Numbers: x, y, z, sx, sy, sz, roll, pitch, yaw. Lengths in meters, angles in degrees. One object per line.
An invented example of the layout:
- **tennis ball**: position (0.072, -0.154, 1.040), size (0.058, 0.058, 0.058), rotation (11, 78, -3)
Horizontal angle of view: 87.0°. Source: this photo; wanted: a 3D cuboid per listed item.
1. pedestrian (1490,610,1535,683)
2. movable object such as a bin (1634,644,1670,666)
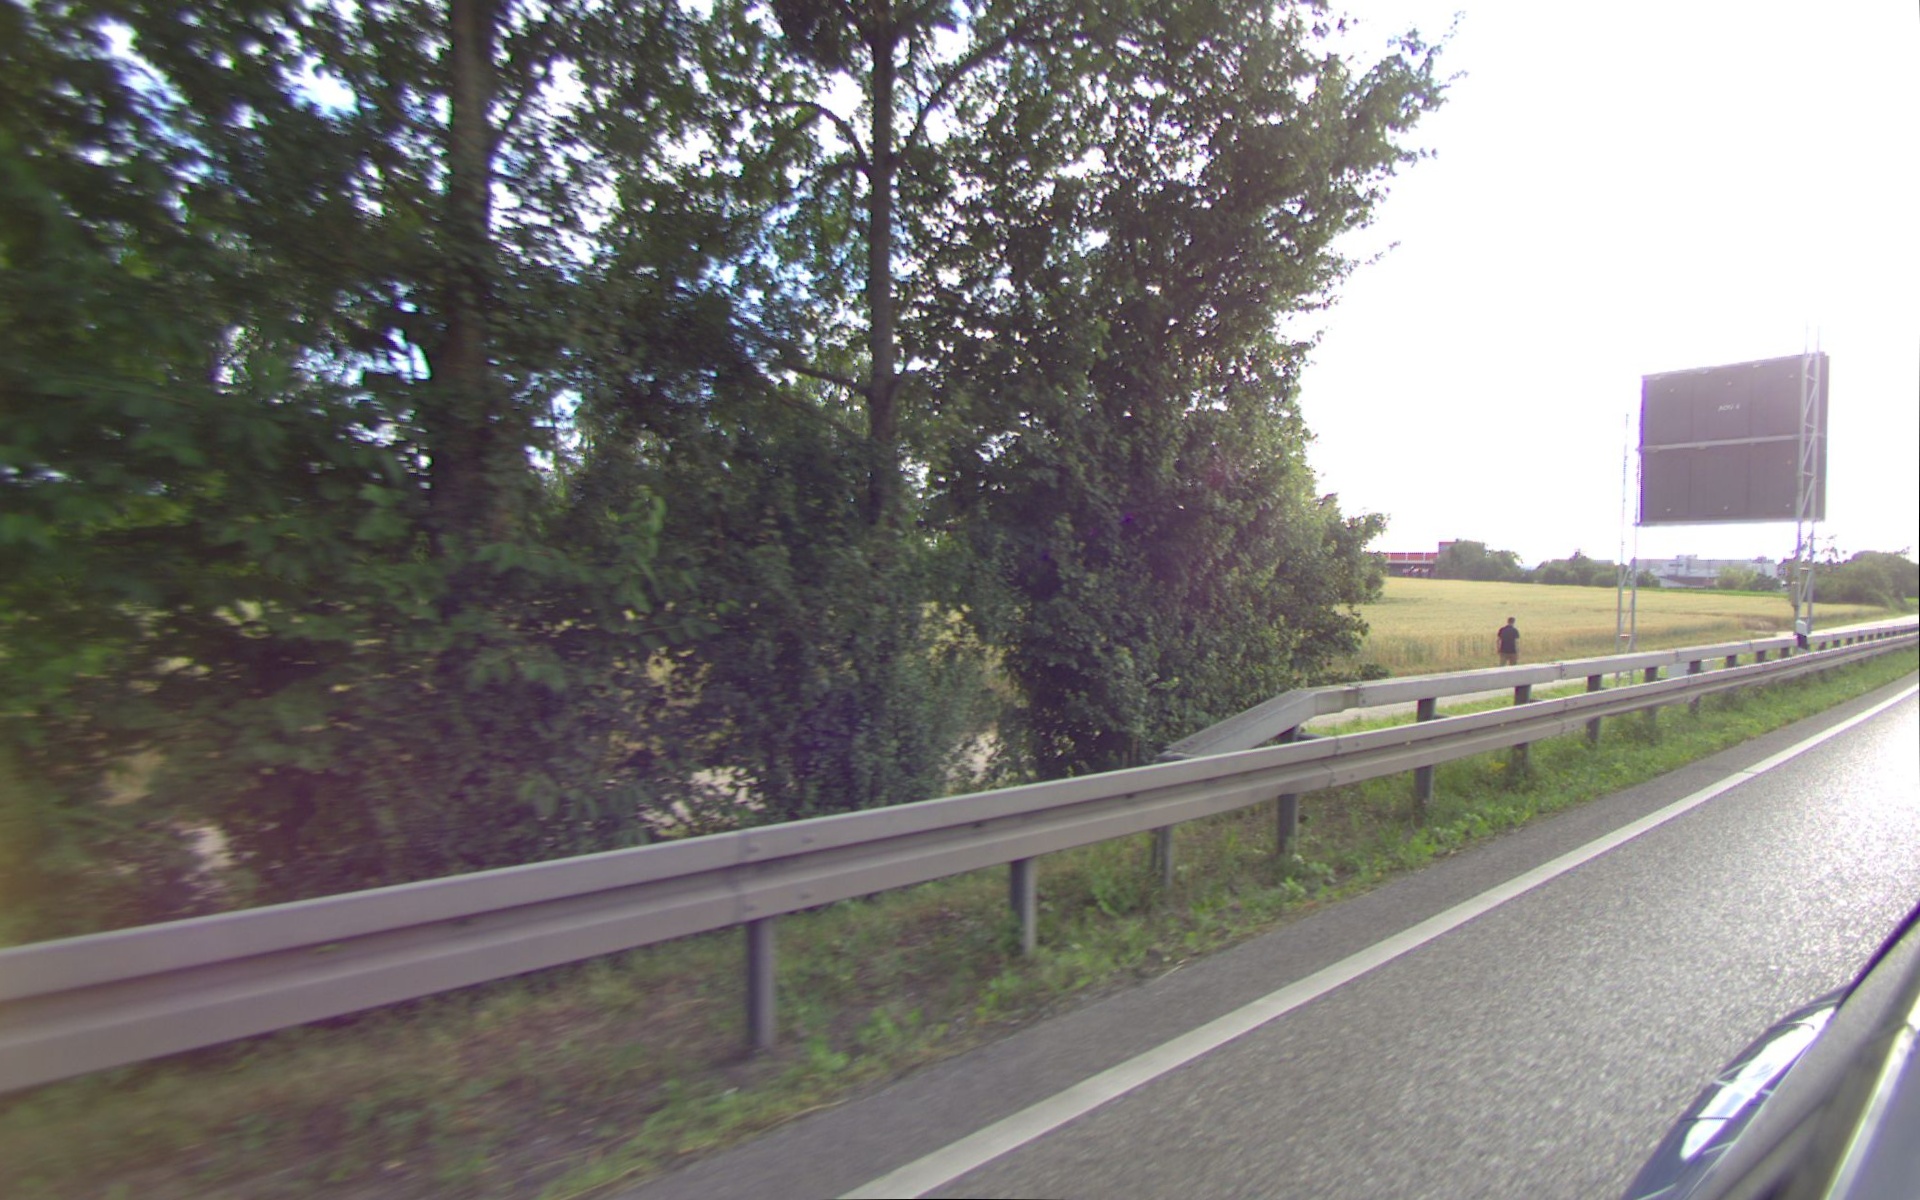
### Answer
- **pedestrian**: position (14.743, 1.211, 27.020), size (0.924, 1.891, 0.772), rotation (0, -1, -43)
- **movable object such as a bin**: position (23.065, 1.840, 33.744), size (1.214, 0.654, 0.733), rotation (-1, 0, -43)
